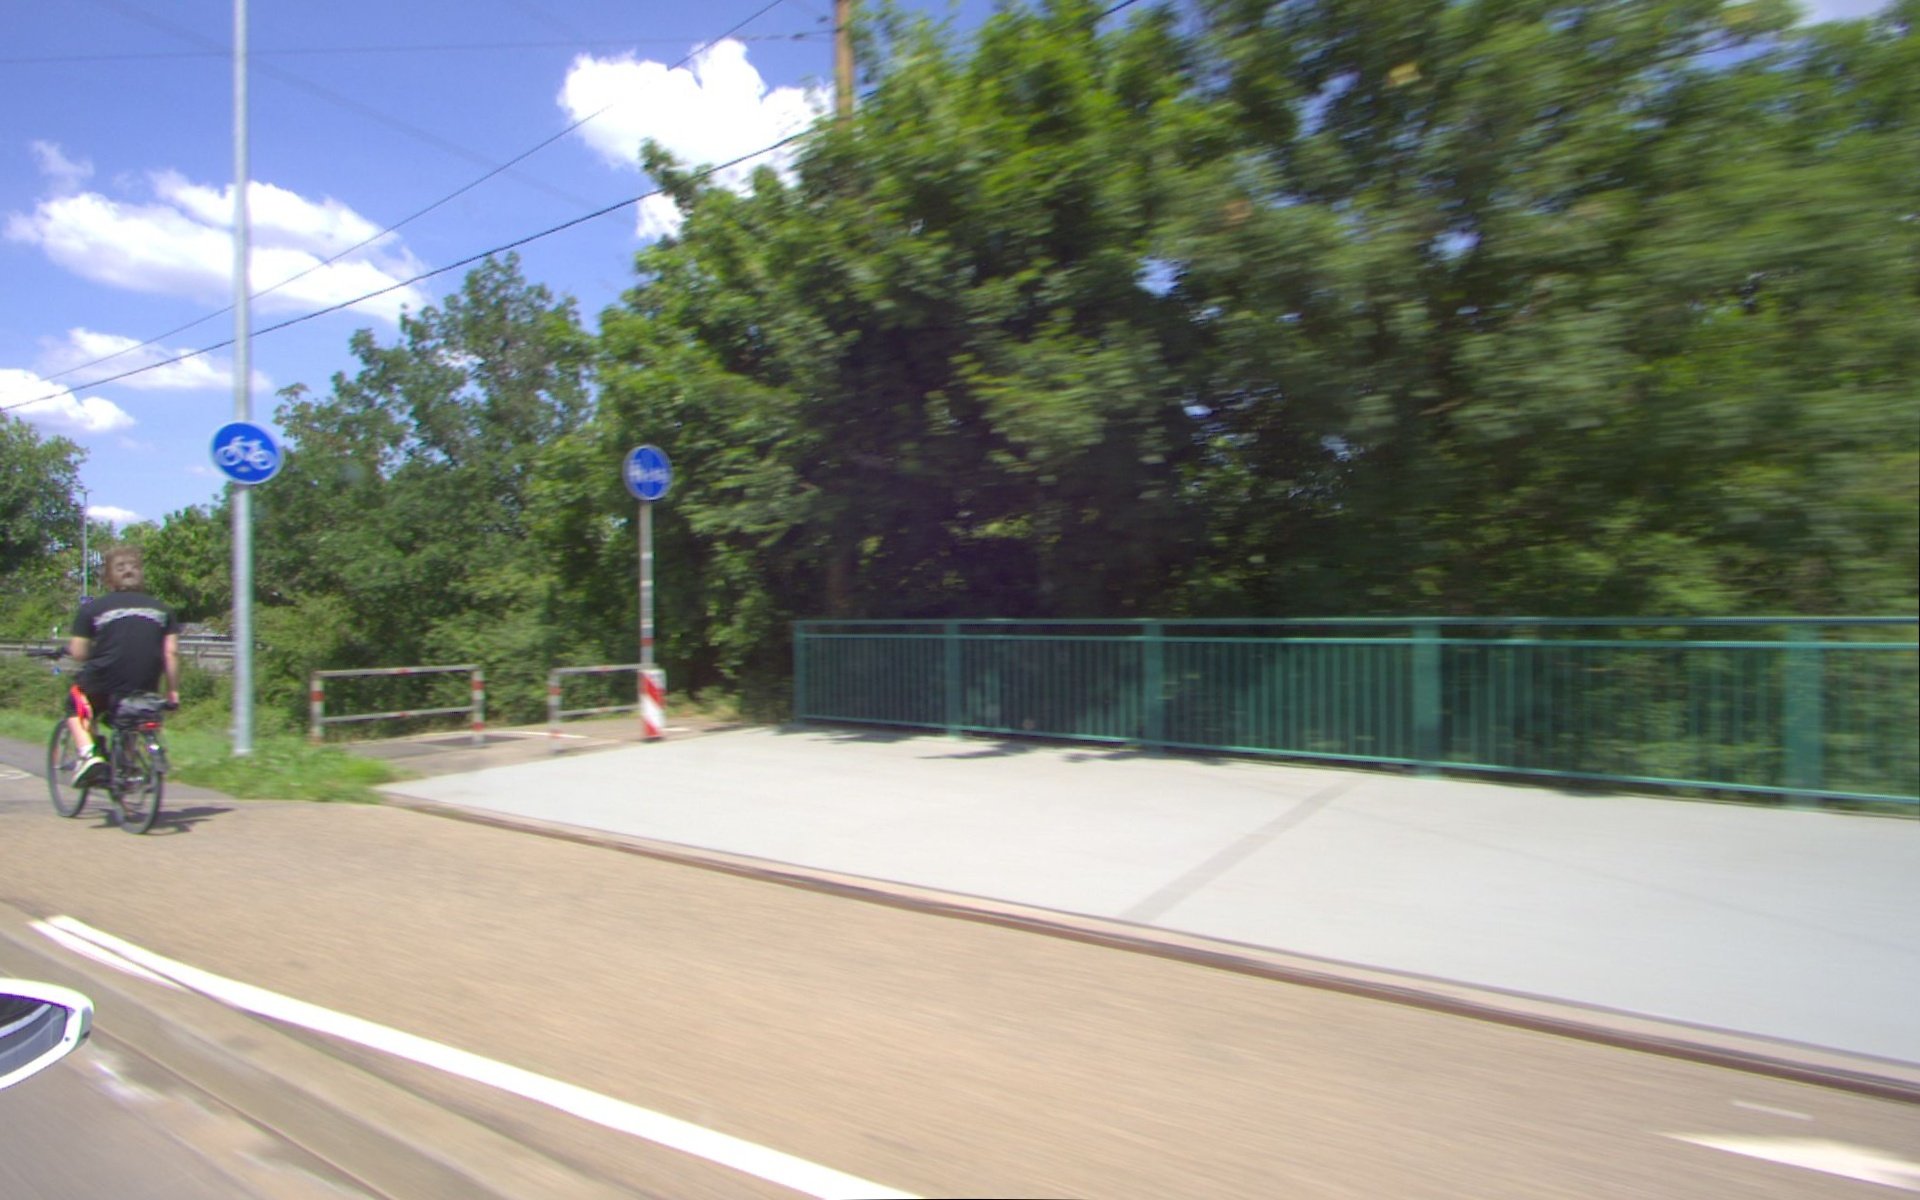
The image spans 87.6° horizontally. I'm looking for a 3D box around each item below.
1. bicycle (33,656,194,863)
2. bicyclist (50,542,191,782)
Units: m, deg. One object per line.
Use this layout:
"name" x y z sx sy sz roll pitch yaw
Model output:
"bicycle" -5.819 1.015 6.847 1.831 1.167 0.431 1 -1 38
"bicyclist" -5.631 0.397 6.721 0.550 1.514 0.583 2 -1 37
